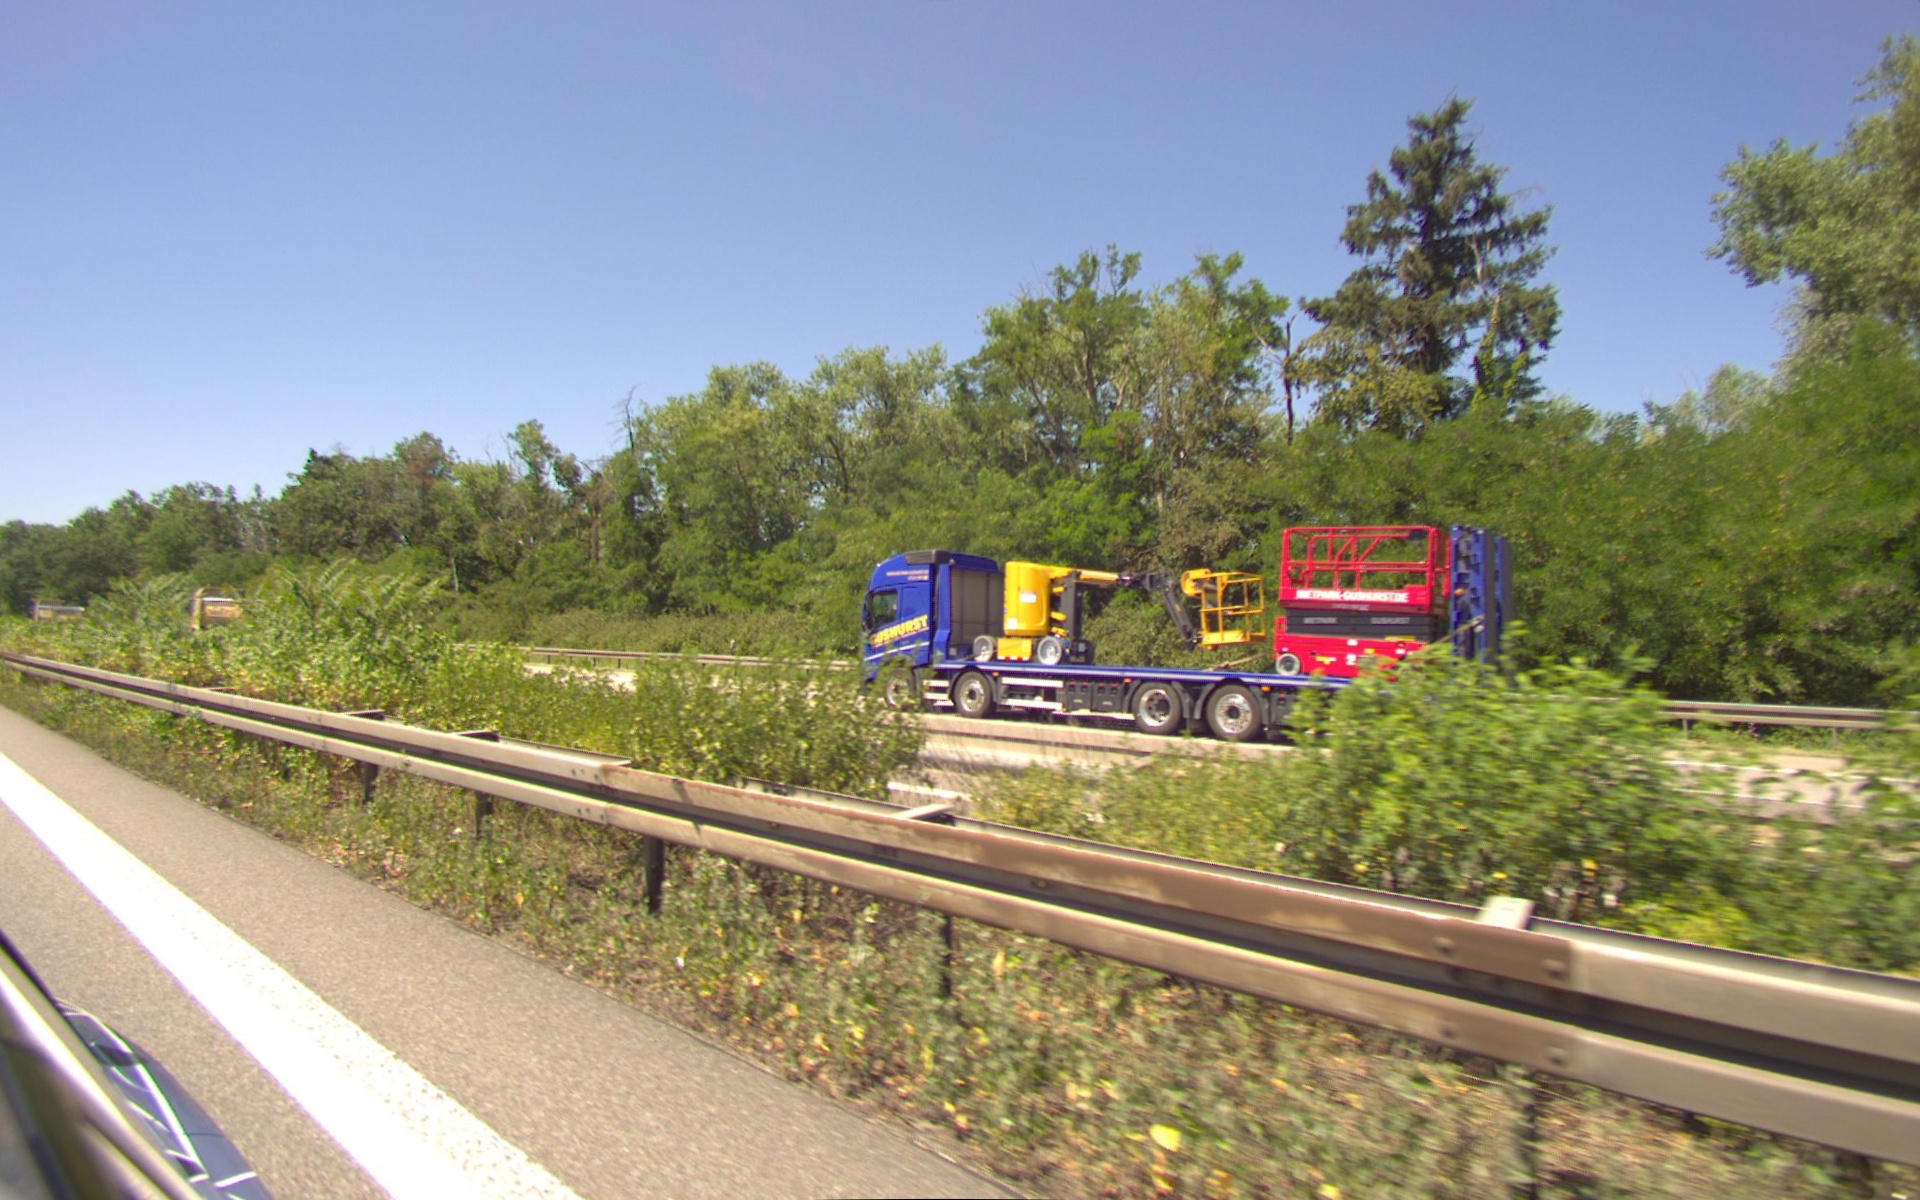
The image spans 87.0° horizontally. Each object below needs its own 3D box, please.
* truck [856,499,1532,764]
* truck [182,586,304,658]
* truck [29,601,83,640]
[{"bbox_3d":[3.269,0.539,18.233,11.975,3.459,2.758,-1,-3,41],"label":"truck"},{"bbox_3d":[-41.116,1.325,57.798,11.892,3.734,2.869,-1,-4,41],"label":"truck"},{"bbox_3d":[-91.255,2.098,102.058,11.838,3.662,2.512,-1,-4,41],"label":"truck"}]
